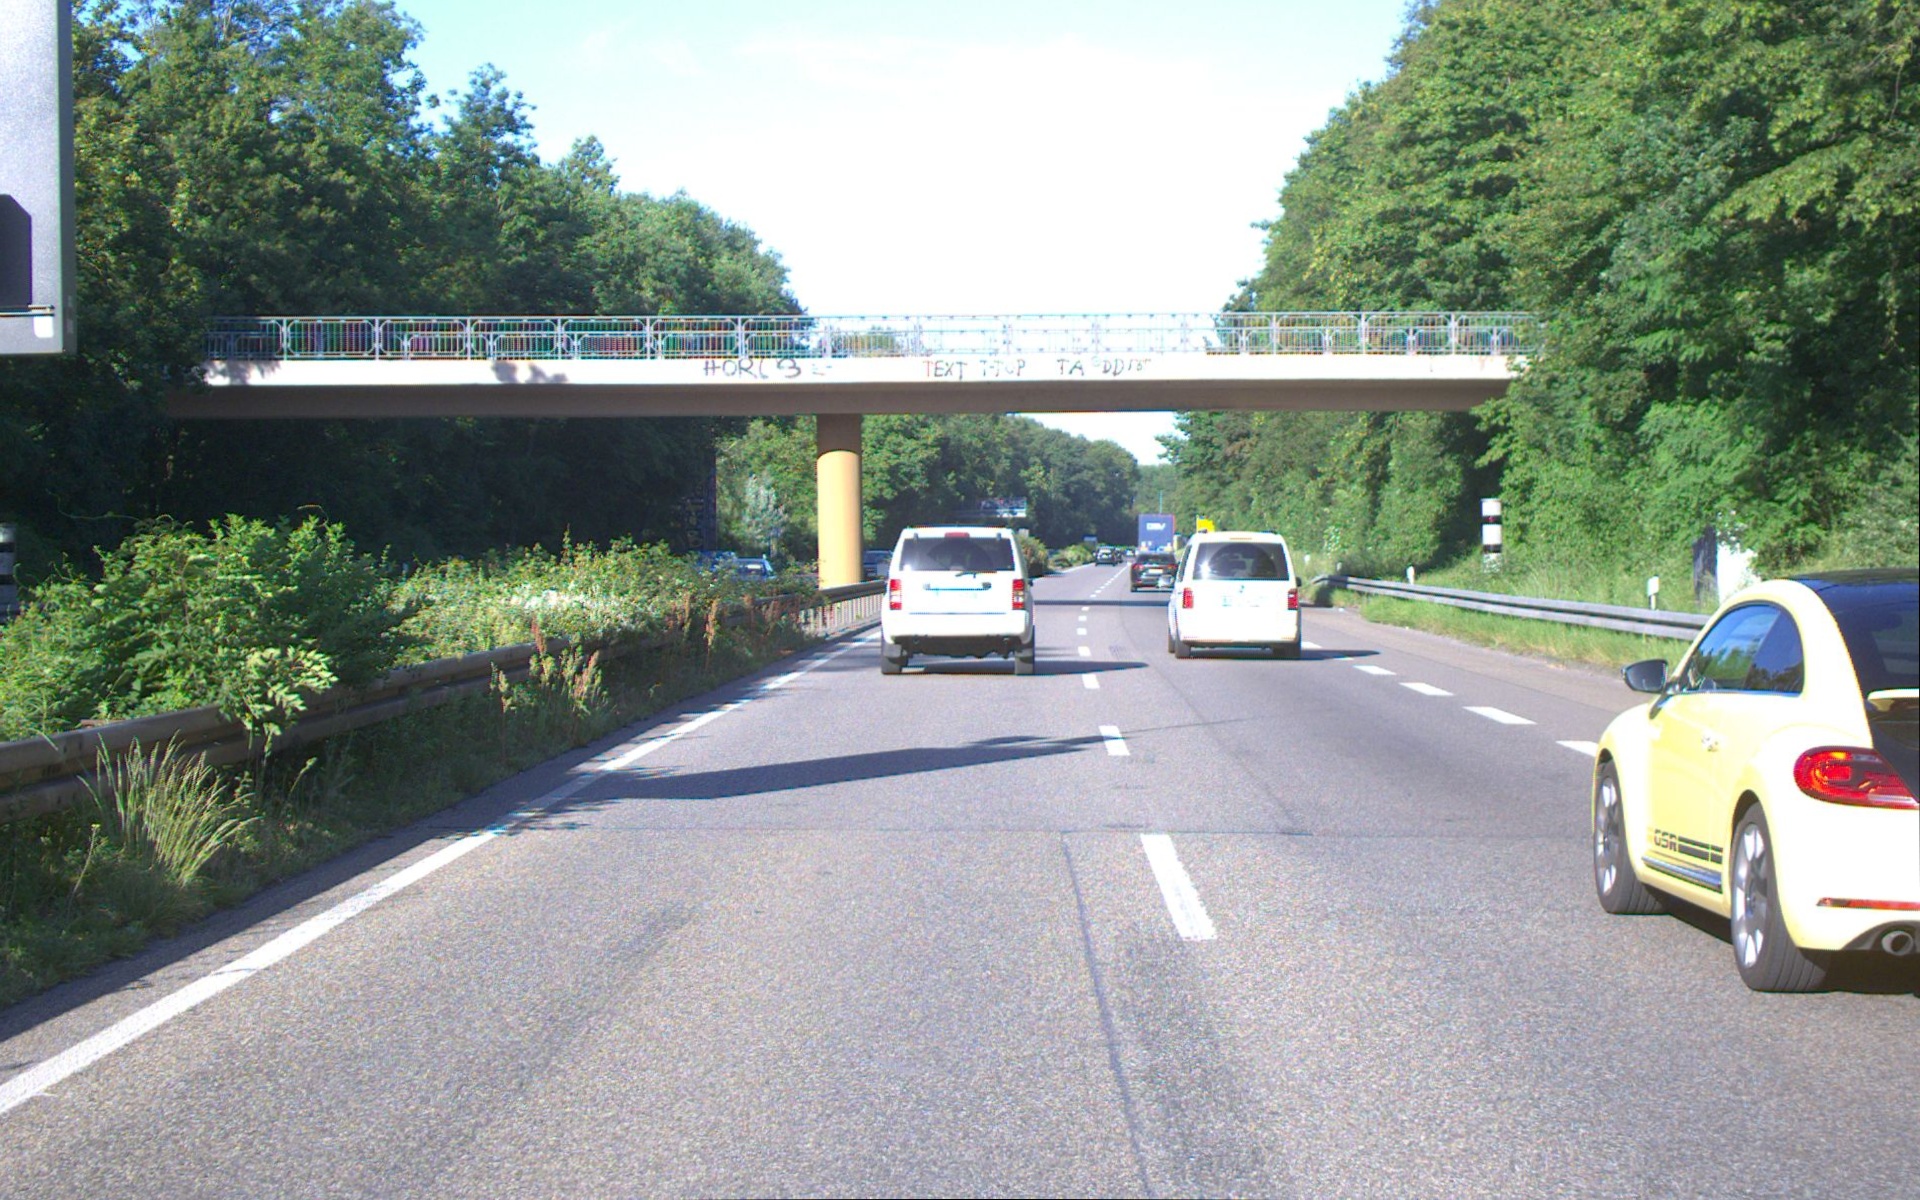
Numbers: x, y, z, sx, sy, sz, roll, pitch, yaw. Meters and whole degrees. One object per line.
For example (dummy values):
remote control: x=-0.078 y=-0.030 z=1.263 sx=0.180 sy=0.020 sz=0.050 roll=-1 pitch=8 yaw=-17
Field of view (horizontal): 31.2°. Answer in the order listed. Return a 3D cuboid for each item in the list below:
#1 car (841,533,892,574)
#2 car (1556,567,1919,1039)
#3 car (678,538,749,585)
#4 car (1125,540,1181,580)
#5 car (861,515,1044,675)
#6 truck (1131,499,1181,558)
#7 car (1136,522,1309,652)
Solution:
car: x=-4.064 y=-2.058 z=150.008 sx=1.961 sy=1.718 sz=4.592 roll=-1 pitch=1 yaw=2
car: x=3.611 y=0.630 z=13.120 sx=1.879 sy=1.456 sz=4.356 roll=0 pitch=1 yaw=0
car: x=-8.864 y=-1.400 z=123.976 sx=1.961 sy=1.653 sz=5.040 roll=-1 pitch=1 yaw=3
car: x=6.965 y=-1.447 z=124.076 sx=1.994 sy=1.393 sz=4.000 roll=0 pitch=1 yaw=3
car: x=-0.108 y=-0.096 z=41.966 sx=2.085 sy=1.822 sz=4.000 roll=1 pitch=1 yaw=-1
truck: x=14.150 y=-5.160 z=248.379 sx=3.496 sy=4.158 sz=8.861 roll=-1 pitch=1 yaw=3
car: x=3.722 y=-0.216 z=49.470 sx=1.863 sy=1.764 sz=4.470 roll=-1 pitch=1 yaw=-3
